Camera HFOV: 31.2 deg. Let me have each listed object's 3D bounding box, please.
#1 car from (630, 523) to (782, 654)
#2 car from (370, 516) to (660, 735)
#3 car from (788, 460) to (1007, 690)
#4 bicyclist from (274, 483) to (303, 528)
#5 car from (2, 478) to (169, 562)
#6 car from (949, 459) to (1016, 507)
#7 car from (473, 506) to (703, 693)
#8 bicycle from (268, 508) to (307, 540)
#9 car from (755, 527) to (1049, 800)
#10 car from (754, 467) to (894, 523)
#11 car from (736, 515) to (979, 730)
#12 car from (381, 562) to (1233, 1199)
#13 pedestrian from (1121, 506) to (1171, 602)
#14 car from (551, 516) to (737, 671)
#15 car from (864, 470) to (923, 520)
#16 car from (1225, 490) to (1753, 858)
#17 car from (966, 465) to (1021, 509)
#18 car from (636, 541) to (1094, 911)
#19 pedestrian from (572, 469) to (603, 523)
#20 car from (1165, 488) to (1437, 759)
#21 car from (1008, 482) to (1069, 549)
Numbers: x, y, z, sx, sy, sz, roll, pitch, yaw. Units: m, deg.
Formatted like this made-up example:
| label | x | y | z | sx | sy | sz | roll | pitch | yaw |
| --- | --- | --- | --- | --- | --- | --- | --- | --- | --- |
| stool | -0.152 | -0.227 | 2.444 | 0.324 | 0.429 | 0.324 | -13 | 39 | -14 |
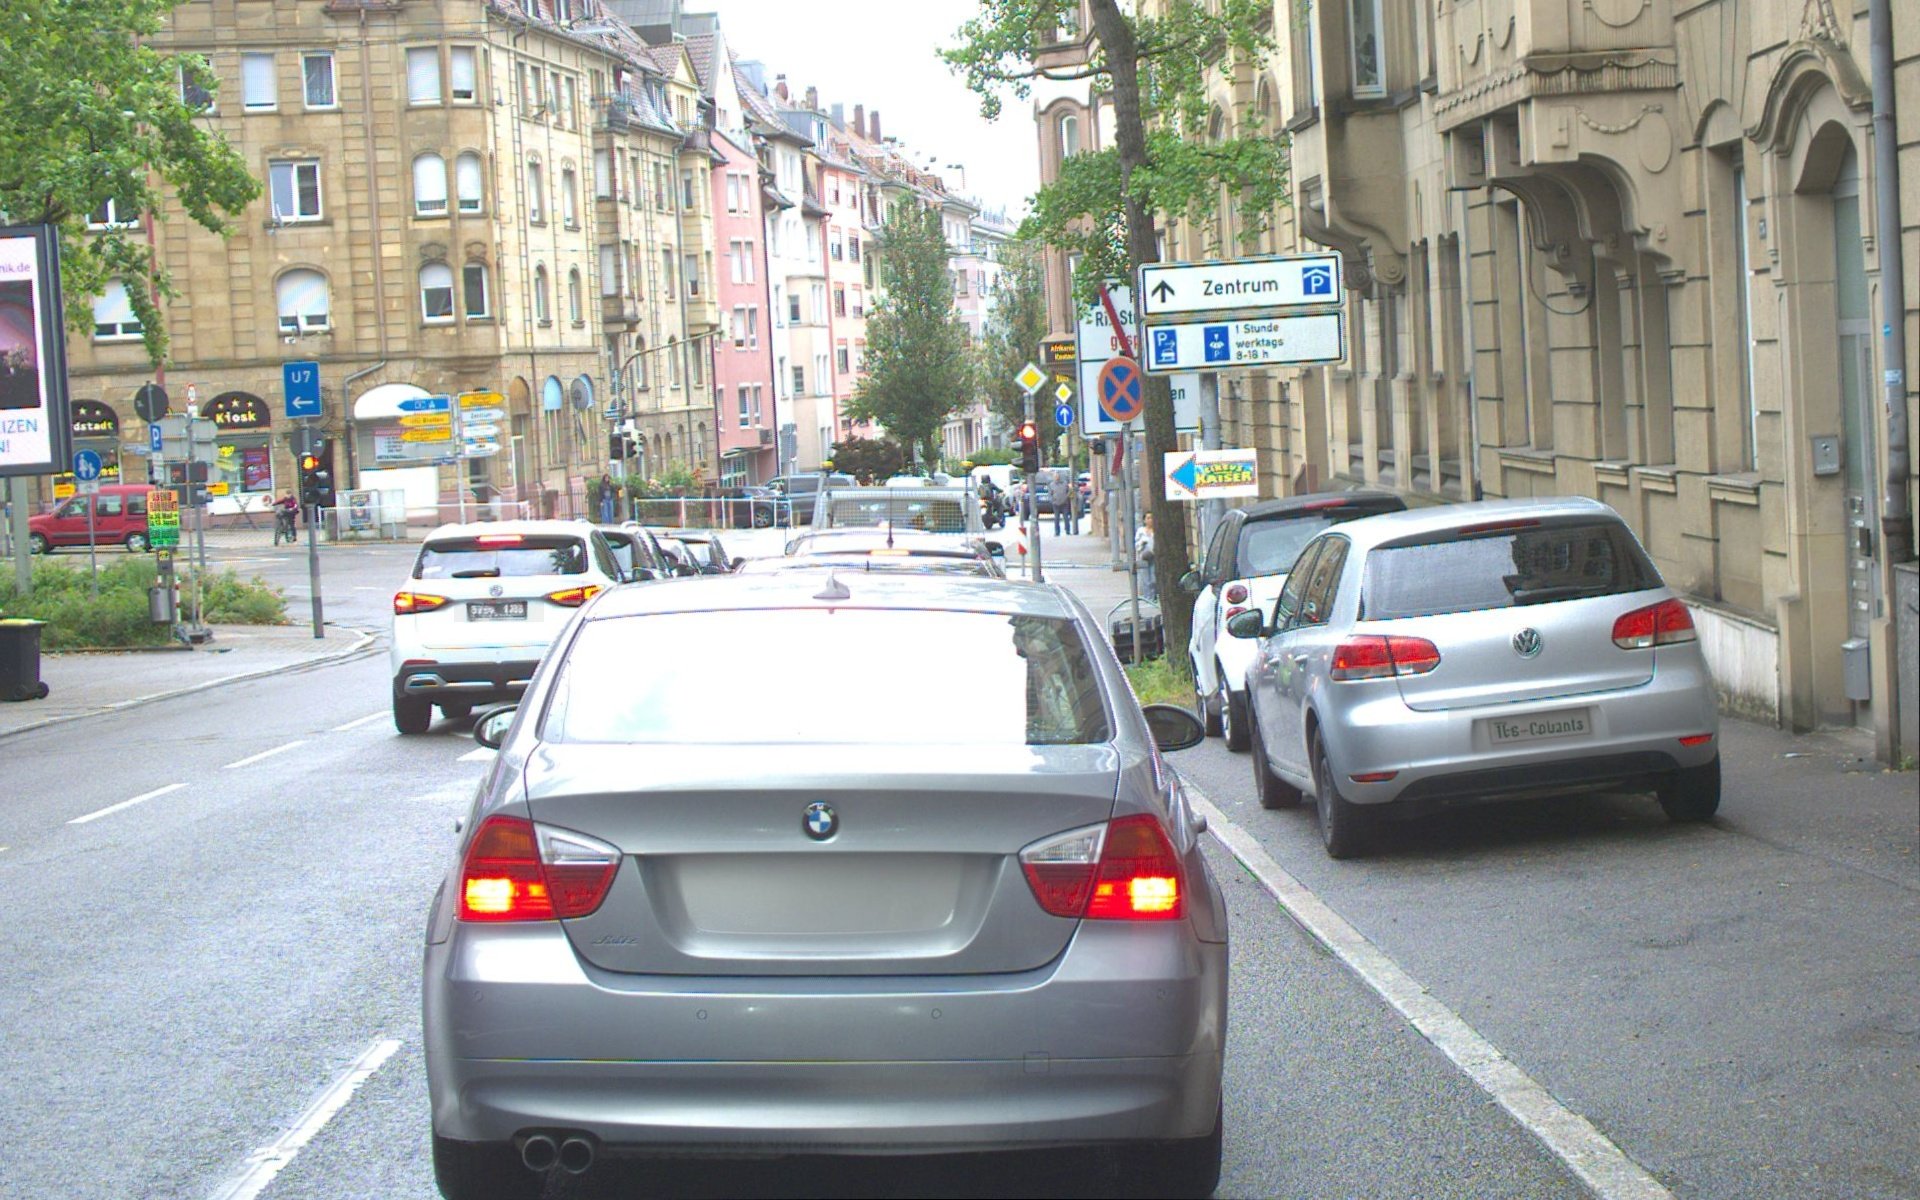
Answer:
| label | x | y | z | sx | sy | sz | roll | pitch | yaw |
| --- | --- | --- | --- | --- | --- | --- | --- | --- | --- |
| car | -3.490 | -0.197 | 47.864 | 1.759 | 1.702 | 4.000 | -1 | 1 | 1 |
| car | -3.528 | 0.145 | 27.901 | 1.868 | 1.620 | 4.000 | -1 | 1 | -1 |
| car | -0.588 | -0.260 | 33.483 | 1.993 | 2.099 | 4.000 | 0 | 1 | -1 |
| bicyclist | -18.854 | -2.650 | 96.489 | 0.569 | 1.268 | 0.689 | 1 | 0 | 11 |
| car | -23.164 | -2.125 | 91.205 | 3.986 | 2.006 | 2.001 | -3 | 1 | -7 |
| car | 0.813 | -4.089 | 120.699 | 1.994 | 1.573 | 3.999 | 1 | 1 | 5 |
| car | -3.587 | -0.054 | 33.748 | 1.759 | 1.702 | 4.000 | -1 | 1 | 1 |
| bicycle | -18.876 | -2.129 | 96.515 | 0.573 | 0.855 | 1.521 | 1 | 1 | 8 |
| car | -0.299 | 0.306 | 20.870 | 1.595 | 1.459 | 4.000 | -1 | 1 | 1 |
| car | -5.108 | -3.959 | 129.856 | 5.176 | 2.007 | 2.699 | 1 | 0 | -1 |
| car | -0.748 | 0.118 | 27.411 | 1.759 | 1.562 | 4.000 | -1 | 1 | 1 |
| car | -0.275 | 0.635 | 8.419 | 1.623 | 1.378 | 3.615 | -1 | 1 | 1 |
| pedestrian | 3.043 | -0.761 | 56.289 | 0.631 | 1.503 | 0.693 | -6 | 1 | -1 |
| car | -3.653 | -0.120 | 40.325 | 1.759 | 1.702 | 4.000 | -1 | 1 | 1 |
| car | -2.039 | -3.192 | 104.762 | 1.715 | 1.445 | 3.743 | -2 | 1 | -1 |
| car | 2.358 | 0.258 | 16.299 | 1.759 | 1.446 | 4.000 | -3 | 1 | -1 |
| car | 0.958 | -3.257 | 99.187 | 1.434 | 1.170 | 3.435 | 1 | 1 | -2 |
| car | -0.352 | 0.457 | 15.345 | 1.759 | 1.378 | 4.000 | -1 | 1 | 1 |
| pedestrian | -10.961 | -3.064 | 101.167 | 0.732 | 1.572 | 0.528 | -2 | 1 | 8 |
| car | 2.188 | 0.110 | 22.654 | 1.299 | 1.537 | 2.976 | -6 | 1 | -1 |
| car | 2.461 | -2.681 | 108.712 | 1.686 | 2.006 | 4.000 | -3 | 2 | -1 |
